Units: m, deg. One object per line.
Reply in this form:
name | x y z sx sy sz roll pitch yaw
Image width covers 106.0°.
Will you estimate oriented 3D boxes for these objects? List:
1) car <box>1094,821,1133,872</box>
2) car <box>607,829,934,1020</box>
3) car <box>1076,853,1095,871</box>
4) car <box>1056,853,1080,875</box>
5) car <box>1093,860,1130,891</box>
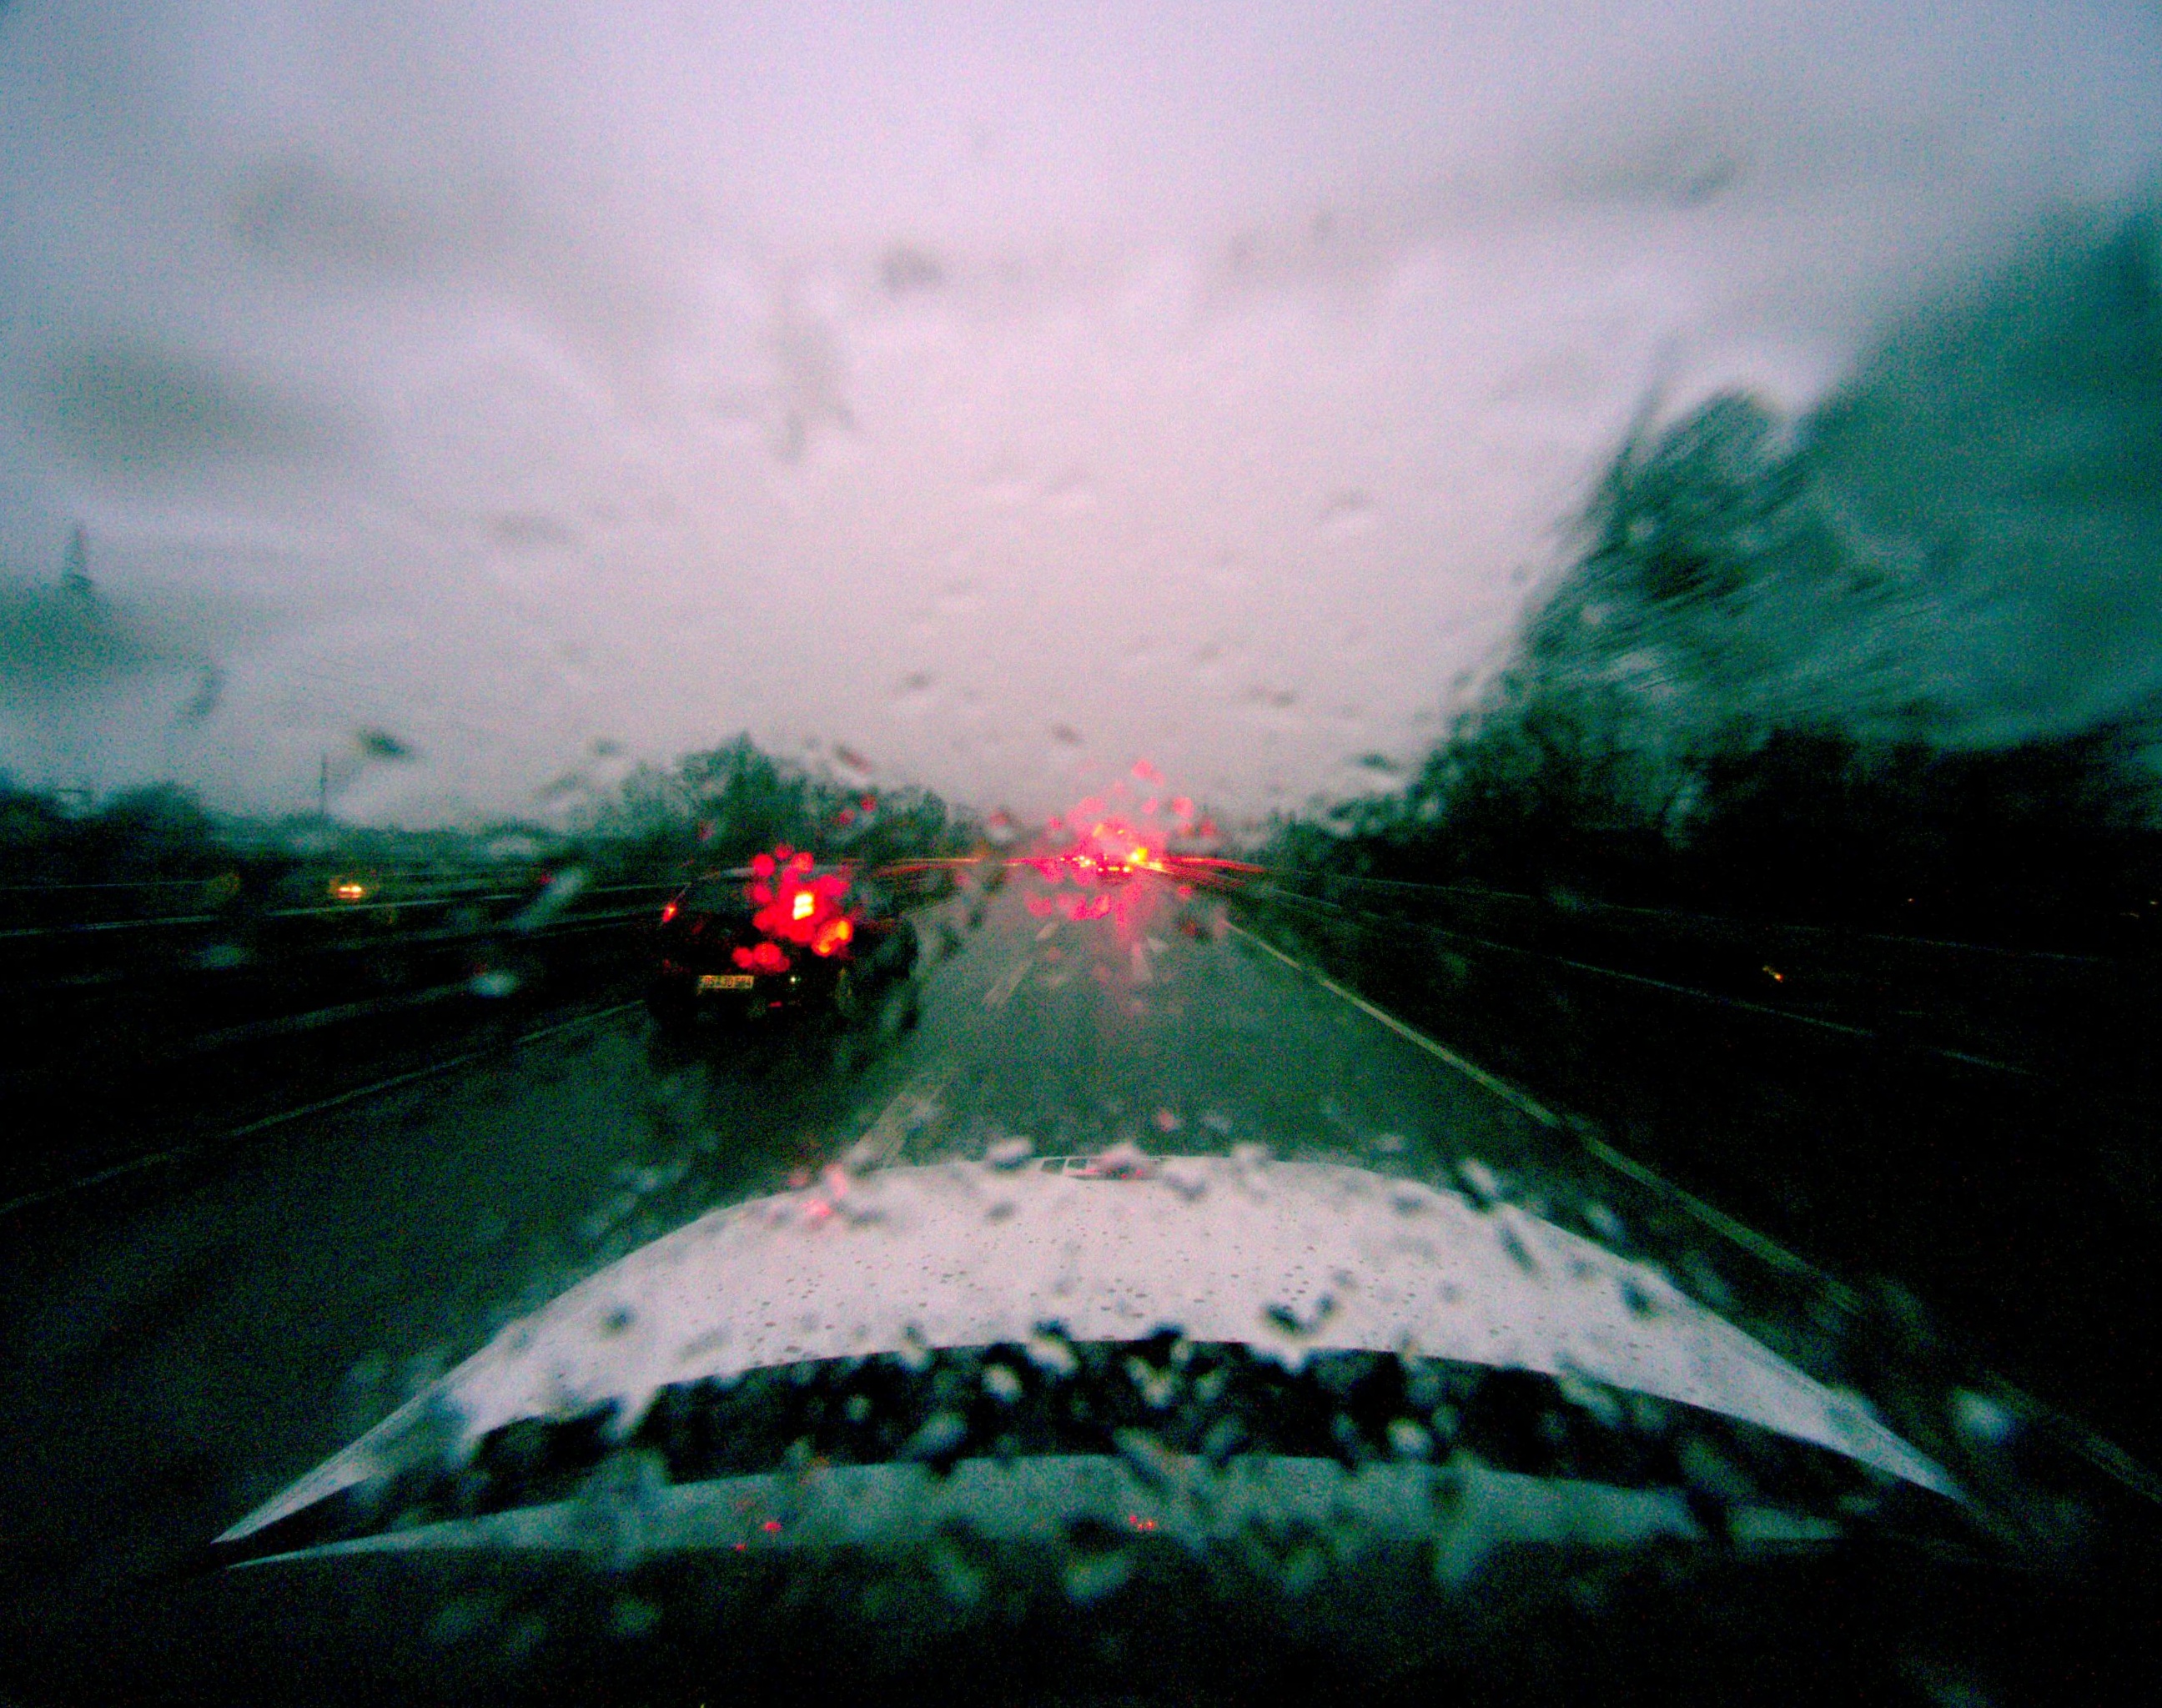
car | 2.050 -0.364 51.644 2.273 2.966 6.393 -1 -2 2
car | -2.901 0.639 8.655 1.723 1.533 4.045 -1 -2 3
car | 0.556 0.895 93.838 1.987 1.713 4.000 -4 1 0
car | -1.173 0.896 74.284 1.987 1.815 4.000 2 0 0
car | 1.576 1.043 41.120 1.729 1.414 4.381 2 -1 3
